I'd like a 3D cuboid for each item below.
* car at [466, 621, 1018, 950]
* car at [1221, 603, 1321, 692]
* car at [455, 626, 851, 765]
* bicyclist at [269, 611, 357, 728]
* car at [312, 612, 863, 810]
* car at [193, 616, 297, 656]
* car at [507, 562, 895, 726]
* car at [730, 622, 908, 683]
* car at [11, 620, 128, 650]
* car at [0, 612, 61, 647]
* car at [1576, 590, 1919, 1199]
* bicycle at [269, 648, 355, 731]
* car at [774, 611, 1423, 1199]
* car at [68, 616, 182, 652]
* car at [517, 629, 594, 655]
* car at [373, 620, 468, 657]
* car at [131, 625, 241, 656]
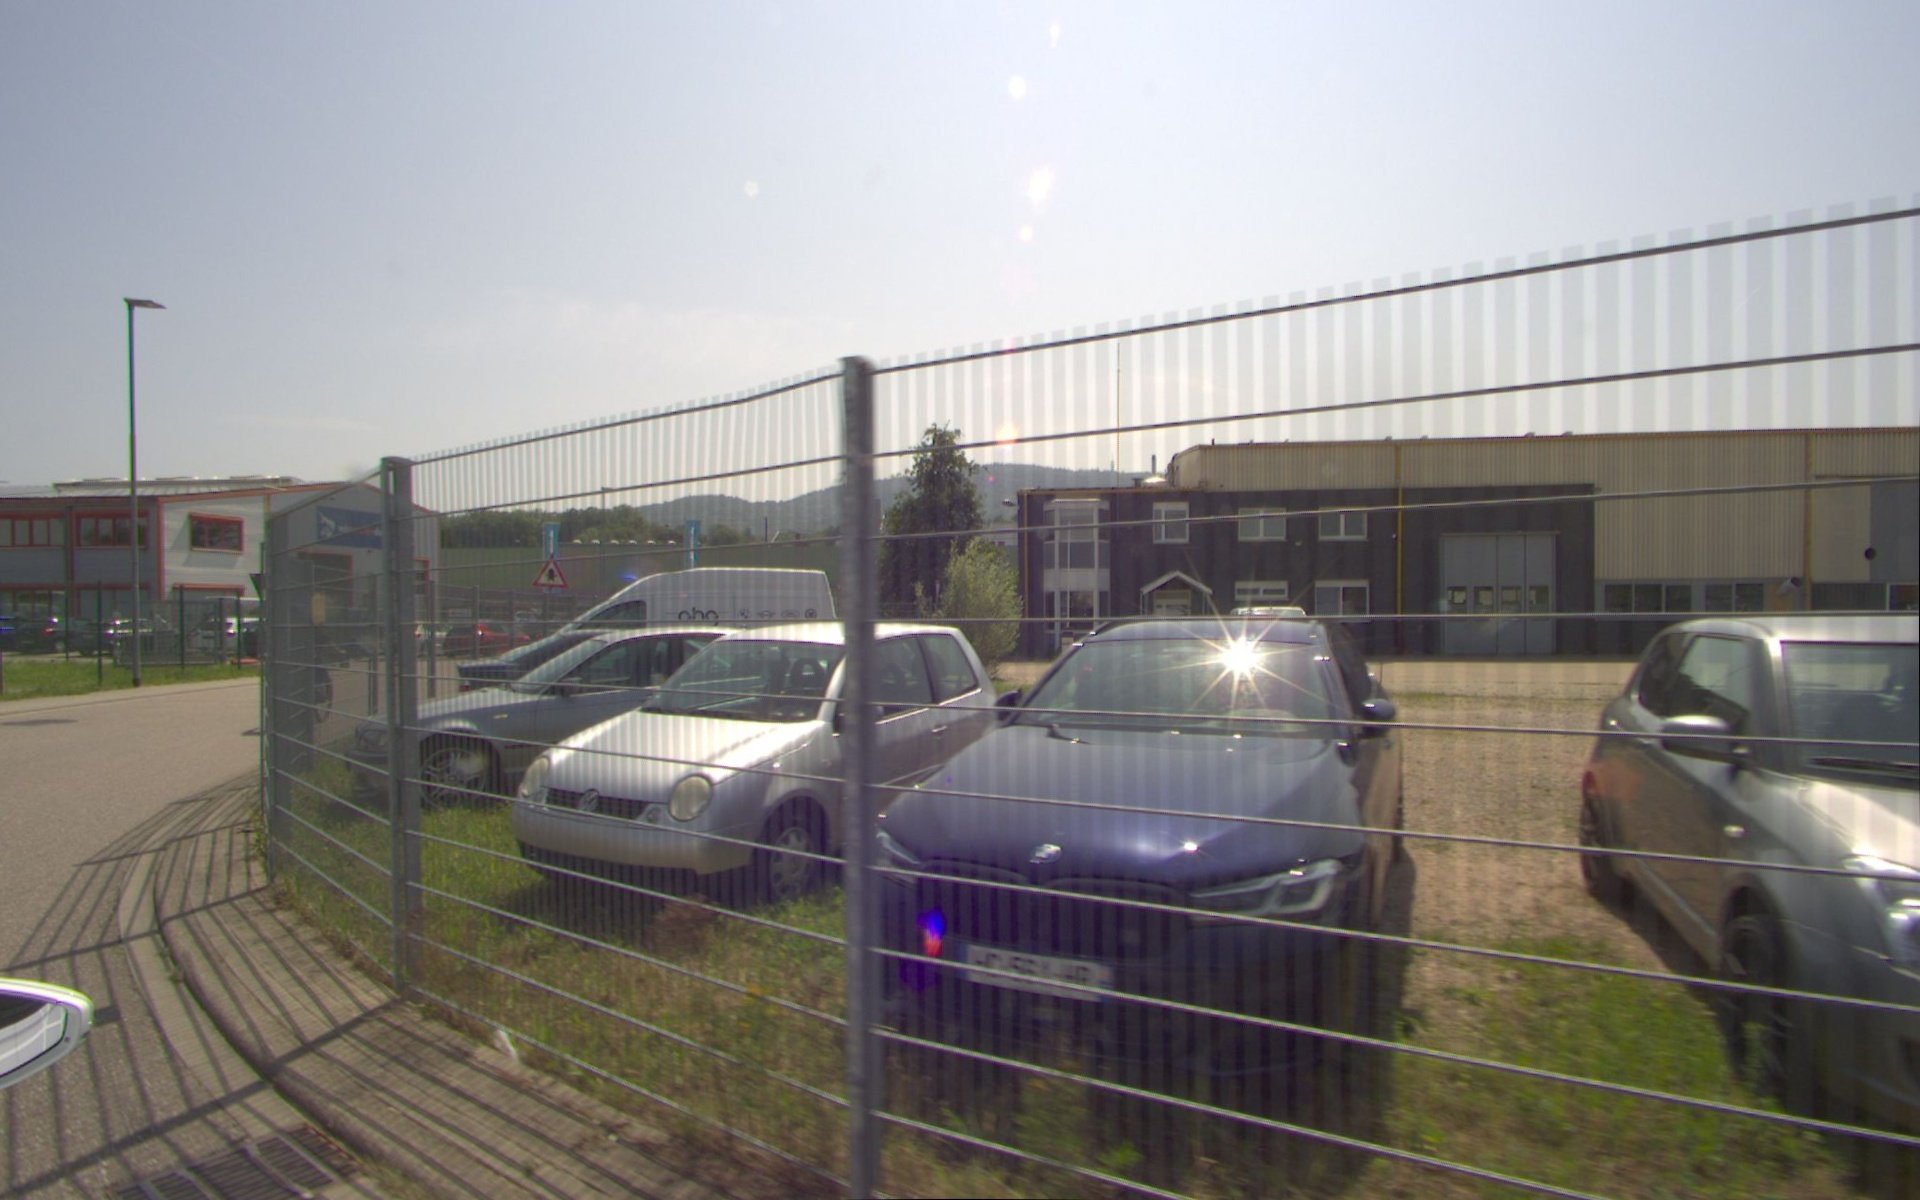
[{"bbox_3d":[-1.060,0.859,6.350,1.611,1.441,3.462,0,-1,27],"label":"car"},{"bbox_3d":[7.452,1.079,24.427,1.822,1.924,5.074,0,-1,11],"label":"car"},{"bbox_3d":[-3.479,1.003,11.656,4.138,1.375,1.612,0,-1,-22],"label":"car"},{"bbox_3d":[-9.424,0.993,14.627,0.831,1.639,1.037,1,-1,-20],"label":"bicyclist"},{"bbox_3d":[-3.149,0.821,8.923,4.294,1.413,1.608,0,-1,-29],"label":"car"},{"bbox_3d":[-29.654,1.451,41.640,1.479,1.560,3.603,0,0,6],"label":"car"},{"bbox_3d":[-3.721,0.609,14.915,5.246,2.177,1.904,0,0,-15],"label":"car"},{"bbox_3d":[-3.259,1.153,22.920,3.858,1.294,1.904,0,-1,-15],"label":"car"},{"bbox_3d":[-37.314,1.445,42.050,1.479,1.166,3.603,0,-1,6],"label":"car"},{"bbox_3d":[-40.087,1.238,41.917,1.479,1.435,3.603,0,0,6],"label":"car"},{"bbox_3d":[3.566,0.758,3.717,1.683,1.521,3.541,0,-1,23],"label":"car"},{"bbox_3d":[-9.433,1.269,14.643,0.676,1.065,1.895,1,-1,-22],"label":"bicycle"},{"bbox_3d":[1.201,0.813,4.941,1.796,1.493,4.535,0,-1,27],"label":"car"},{"bbox_3d":[-34.378,1.352,41.356,1.479,1.399,3.603,0,-1,6],"label":"car"},{"bbox_3d":[-18.312,1.875,45.518,1.459,1.020,4.113,0,-1,6],"label":"car"},{"bbox_3d":[-22.159,1.551,41.257,1.717,1.423,3.603,0,0,6],"label":"car"},{"bbox_3d":[-31.788,1.656,41.251,1.479,1.166,3.603,0,-1,6],"label":"car"}]
